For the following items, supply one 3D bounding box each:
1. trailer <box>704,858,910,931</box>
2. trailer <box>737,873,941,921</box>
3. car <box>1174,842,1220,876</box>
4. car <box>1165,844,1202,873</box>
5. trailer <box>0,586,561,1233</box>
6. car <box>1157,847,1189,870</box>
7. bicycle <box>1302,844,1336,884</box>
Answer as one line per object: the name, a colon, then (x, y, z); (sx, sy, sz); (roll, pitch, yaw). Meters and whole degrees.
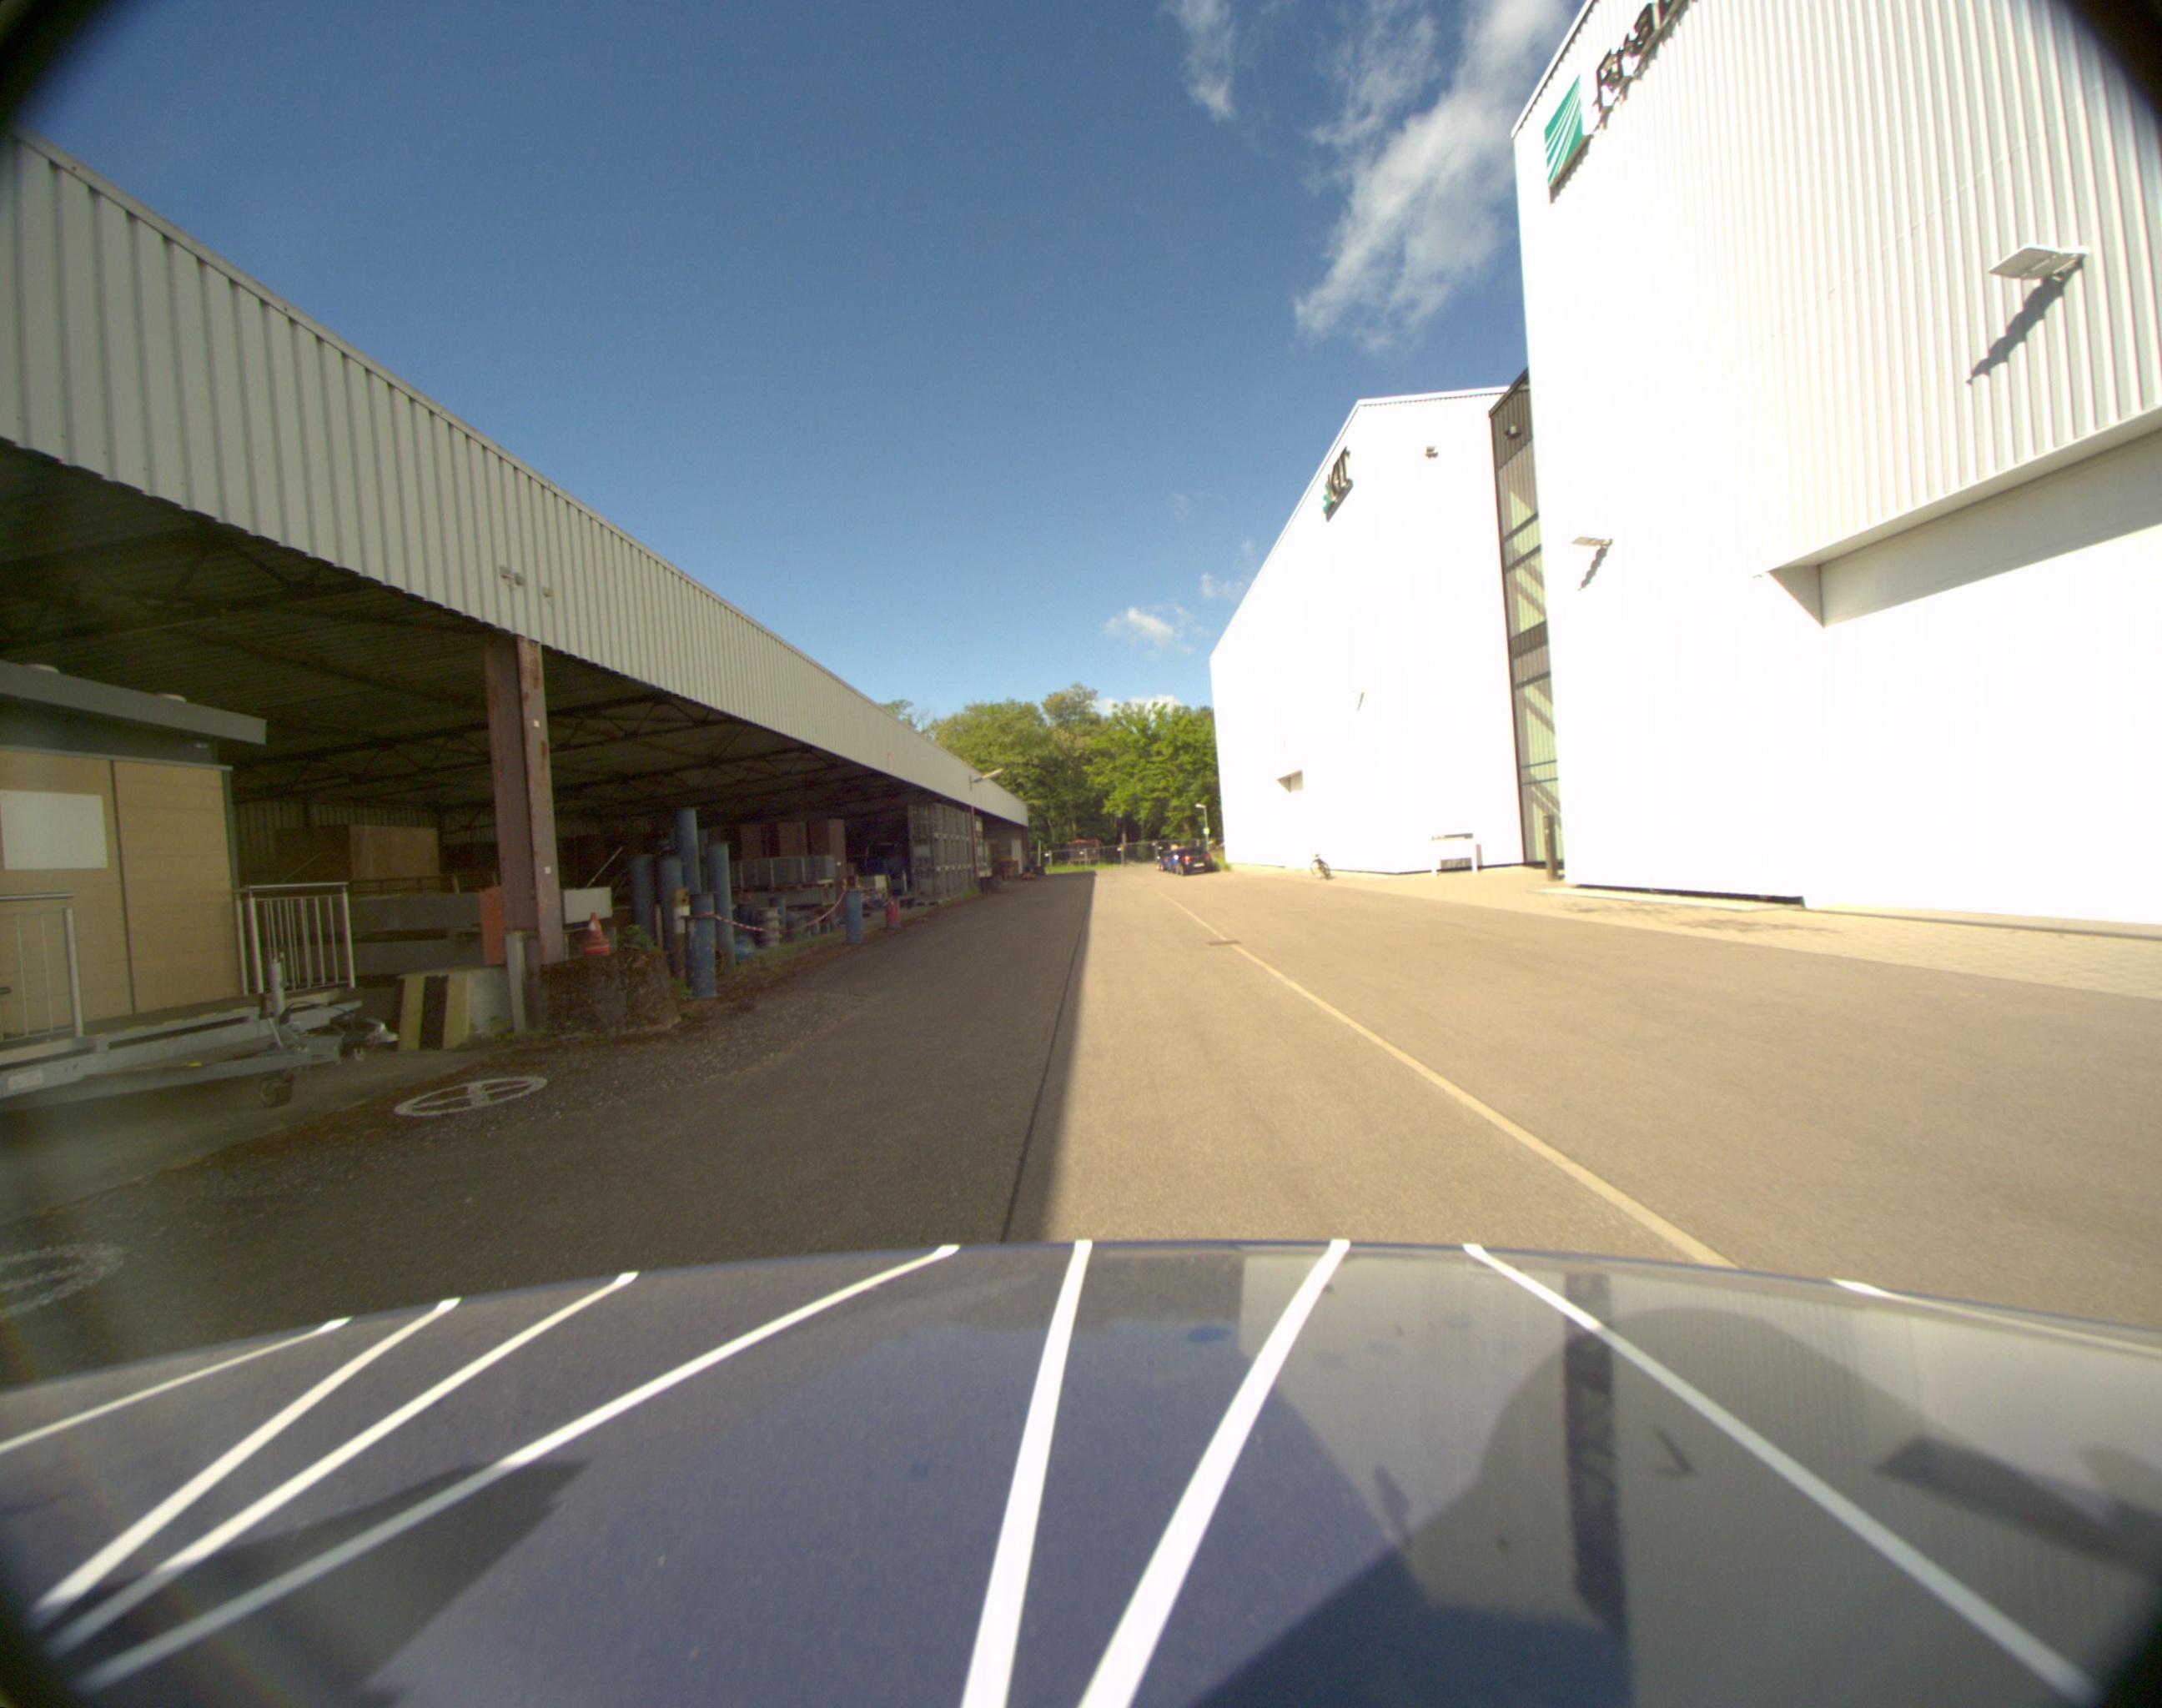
trailer: (-7.440, 1.080, 21.024); (4.879, 1.619, 2.029); (-3, 1, 0)
trailer: (-7.630, 1.341, 24.380); (5.837, 1.113, 2.029); (-3, 0, 0)
car: (6.254, 0.248, 41.338); (1.895, 1.513, 4.000); (-7, 0, 3)
car: (6.247, 0.248, 46.591); (1.789, 1.513, 4.000); (-7, 0, 3)
trailer: (-9.706, 0.545, 5.313); (10.062, 3.197, 2.854); (-3, 1, 1)
car: (6.272, 0.262, 52.094); (1.789, 1.431, 4.000); (-3, 0, 3)
bicycle: (7.934, 0.307, 25.377); (0.909, 1.136, 1.901); (-7, 1, 17)
